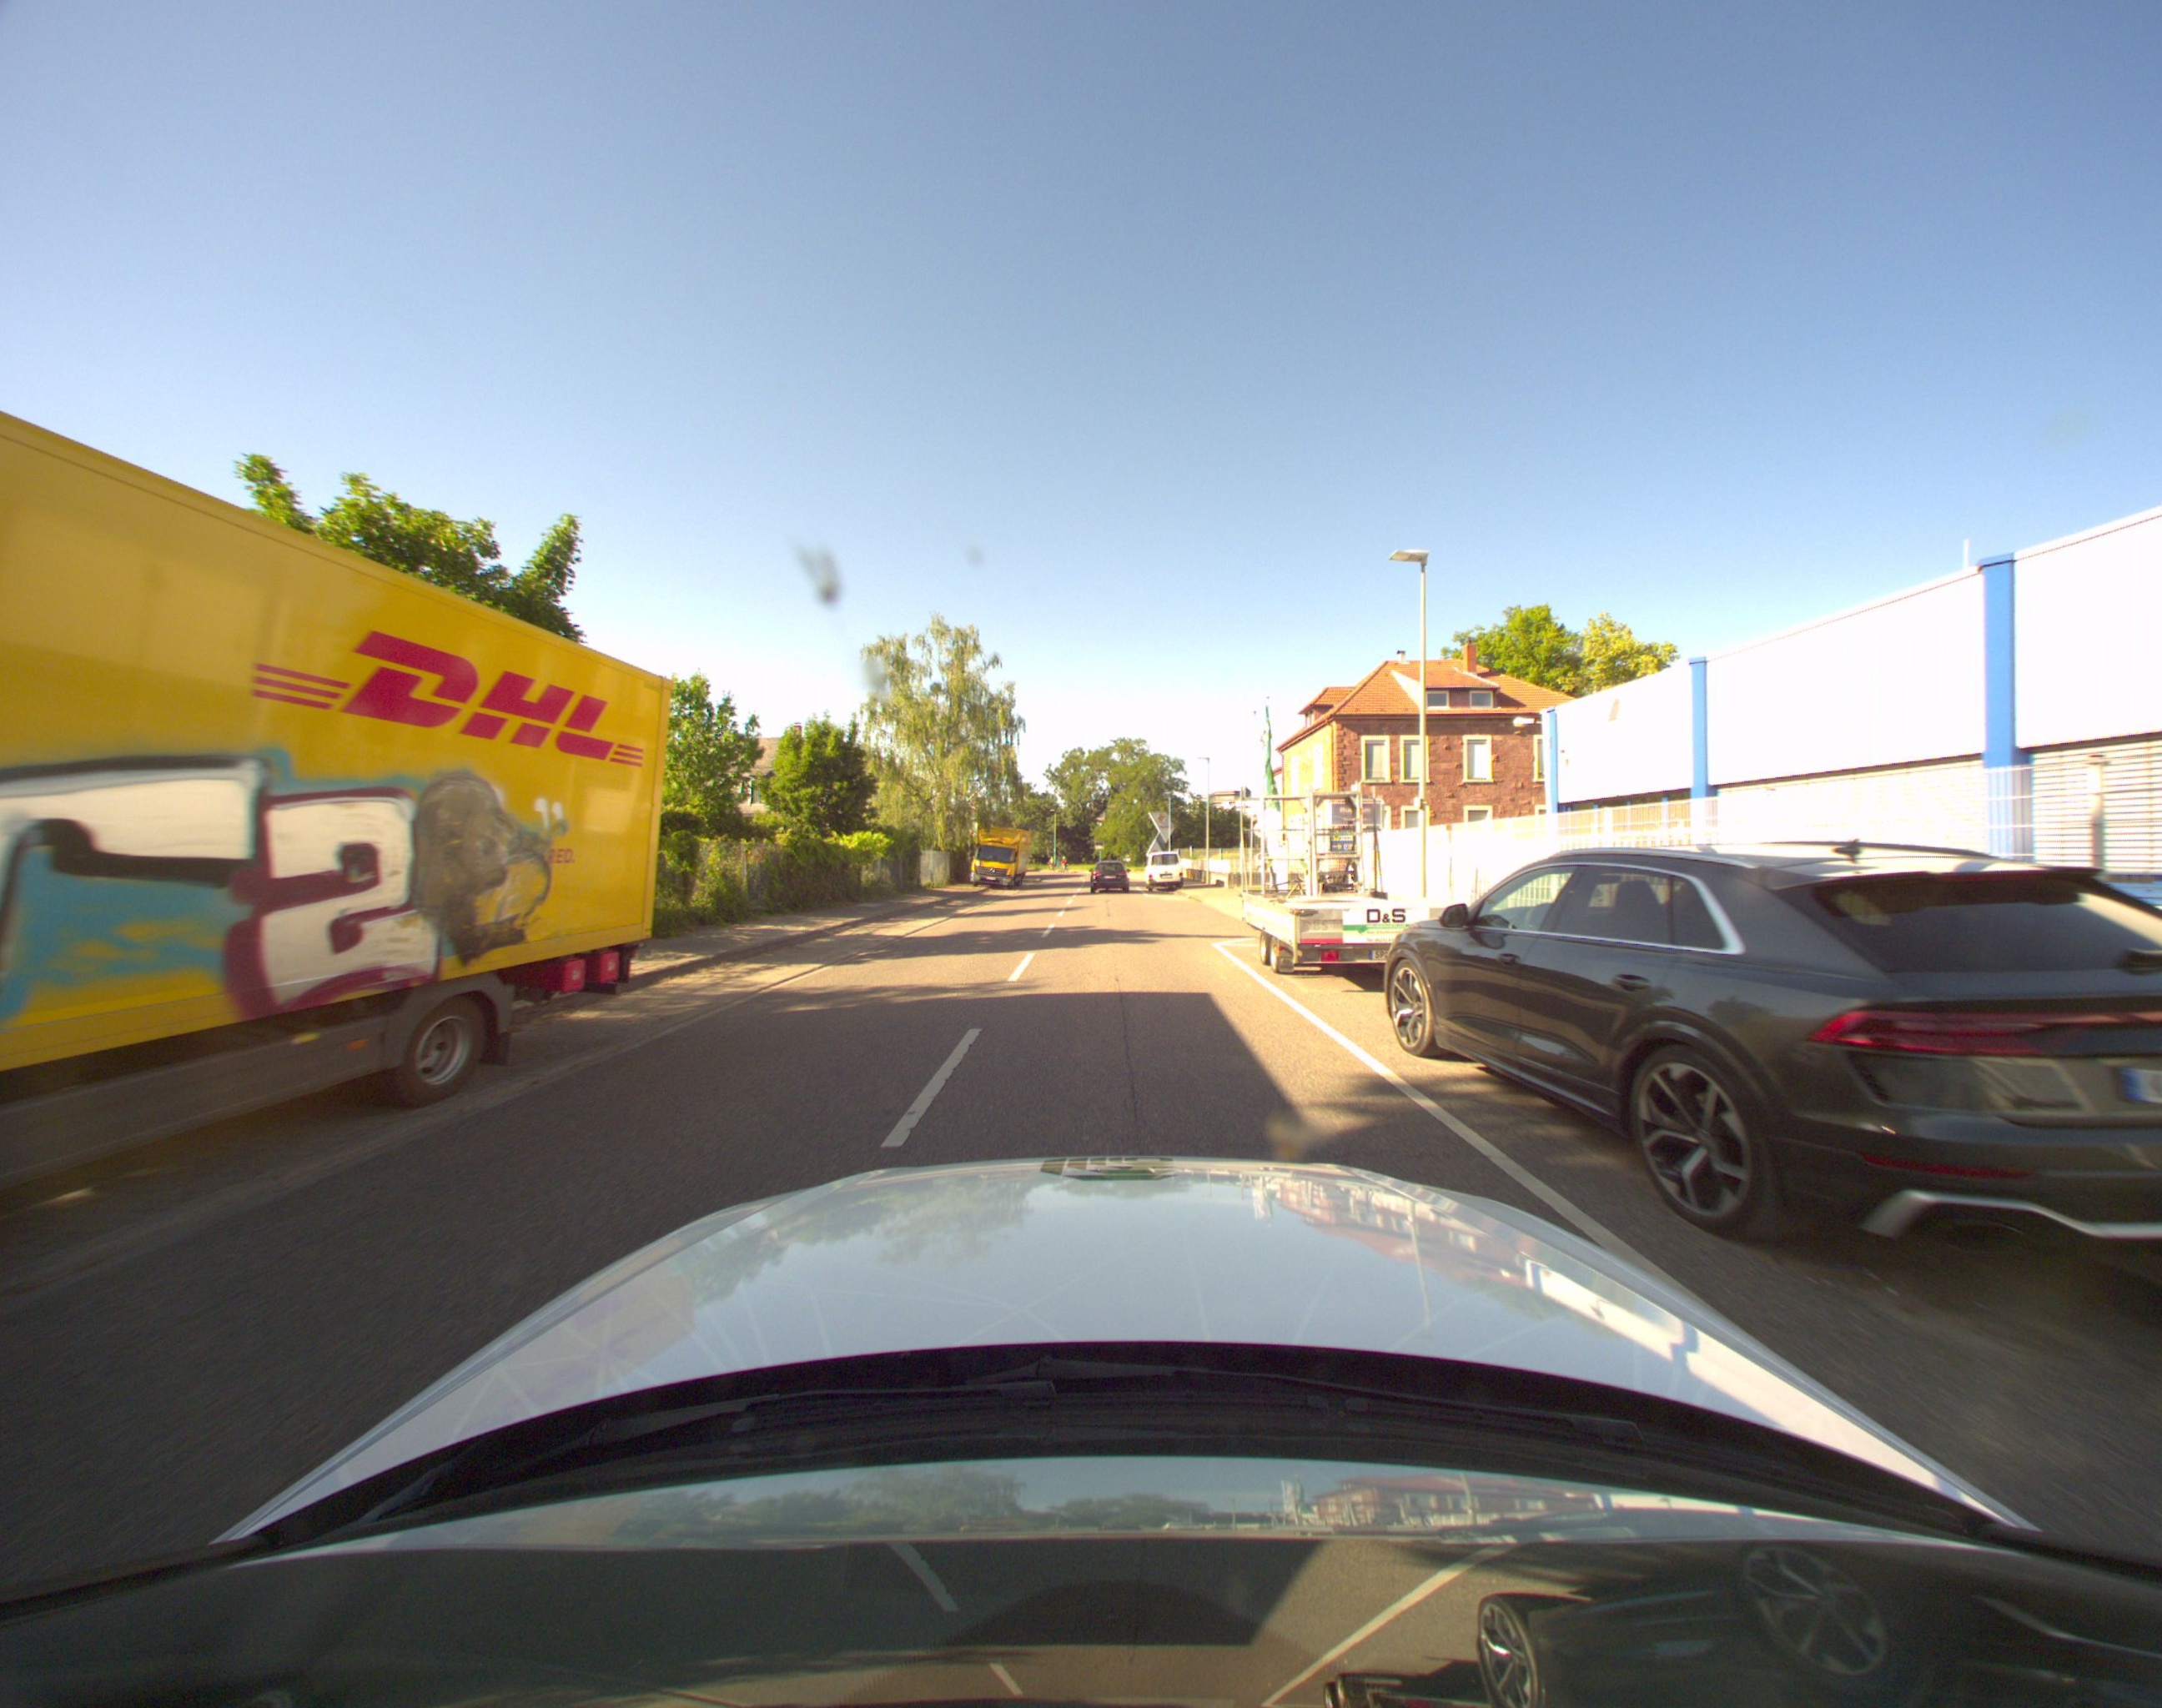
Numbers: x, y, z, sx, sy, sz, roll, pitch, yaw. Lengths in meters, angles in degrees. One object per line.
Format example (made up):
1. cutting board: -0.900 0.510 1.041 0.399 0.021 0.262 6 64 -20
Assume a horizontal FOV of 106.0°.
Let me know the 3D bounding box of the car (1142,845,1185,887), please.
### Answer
1. car: 4.242 0.628 42.323 1.867 2.014 5.162 1 -1 2

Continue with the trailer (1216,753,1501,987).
1. trailer: 3.685 0.197 12.271 2.451 2.673 5.703 -1 0 1

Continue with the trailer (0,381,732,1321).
1. trailer: -5.433 0.010 4.989 2.981 3.443 8.161 -1 0 0

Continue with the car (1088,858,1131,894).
1. car: 1.352 0.972 38.017 1.840 1.530 4.002 -1 0 2

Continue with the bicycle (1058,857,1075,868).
1. bicycle: -1.583 0.937 89.459 0.809 1.268 2.235 1 -1 -33

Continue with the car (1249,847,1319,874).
1. car: 15.762 0.505 63.407 1.890 2.013 5.098 -1 0 -42

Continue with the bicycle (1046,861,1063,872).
1. bicycle: -3.057 1.471 92.685 0.810 1.221 2.233 1 -1 -38

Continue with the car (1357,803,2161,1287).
1. car: 3.503 0.690 5.215 1.986 1.667 4.733 1 -1 2

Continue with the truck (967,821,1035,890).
1. truck: -4.577 0.006 48.595 2.622 3.504 8.661 5 1 2
